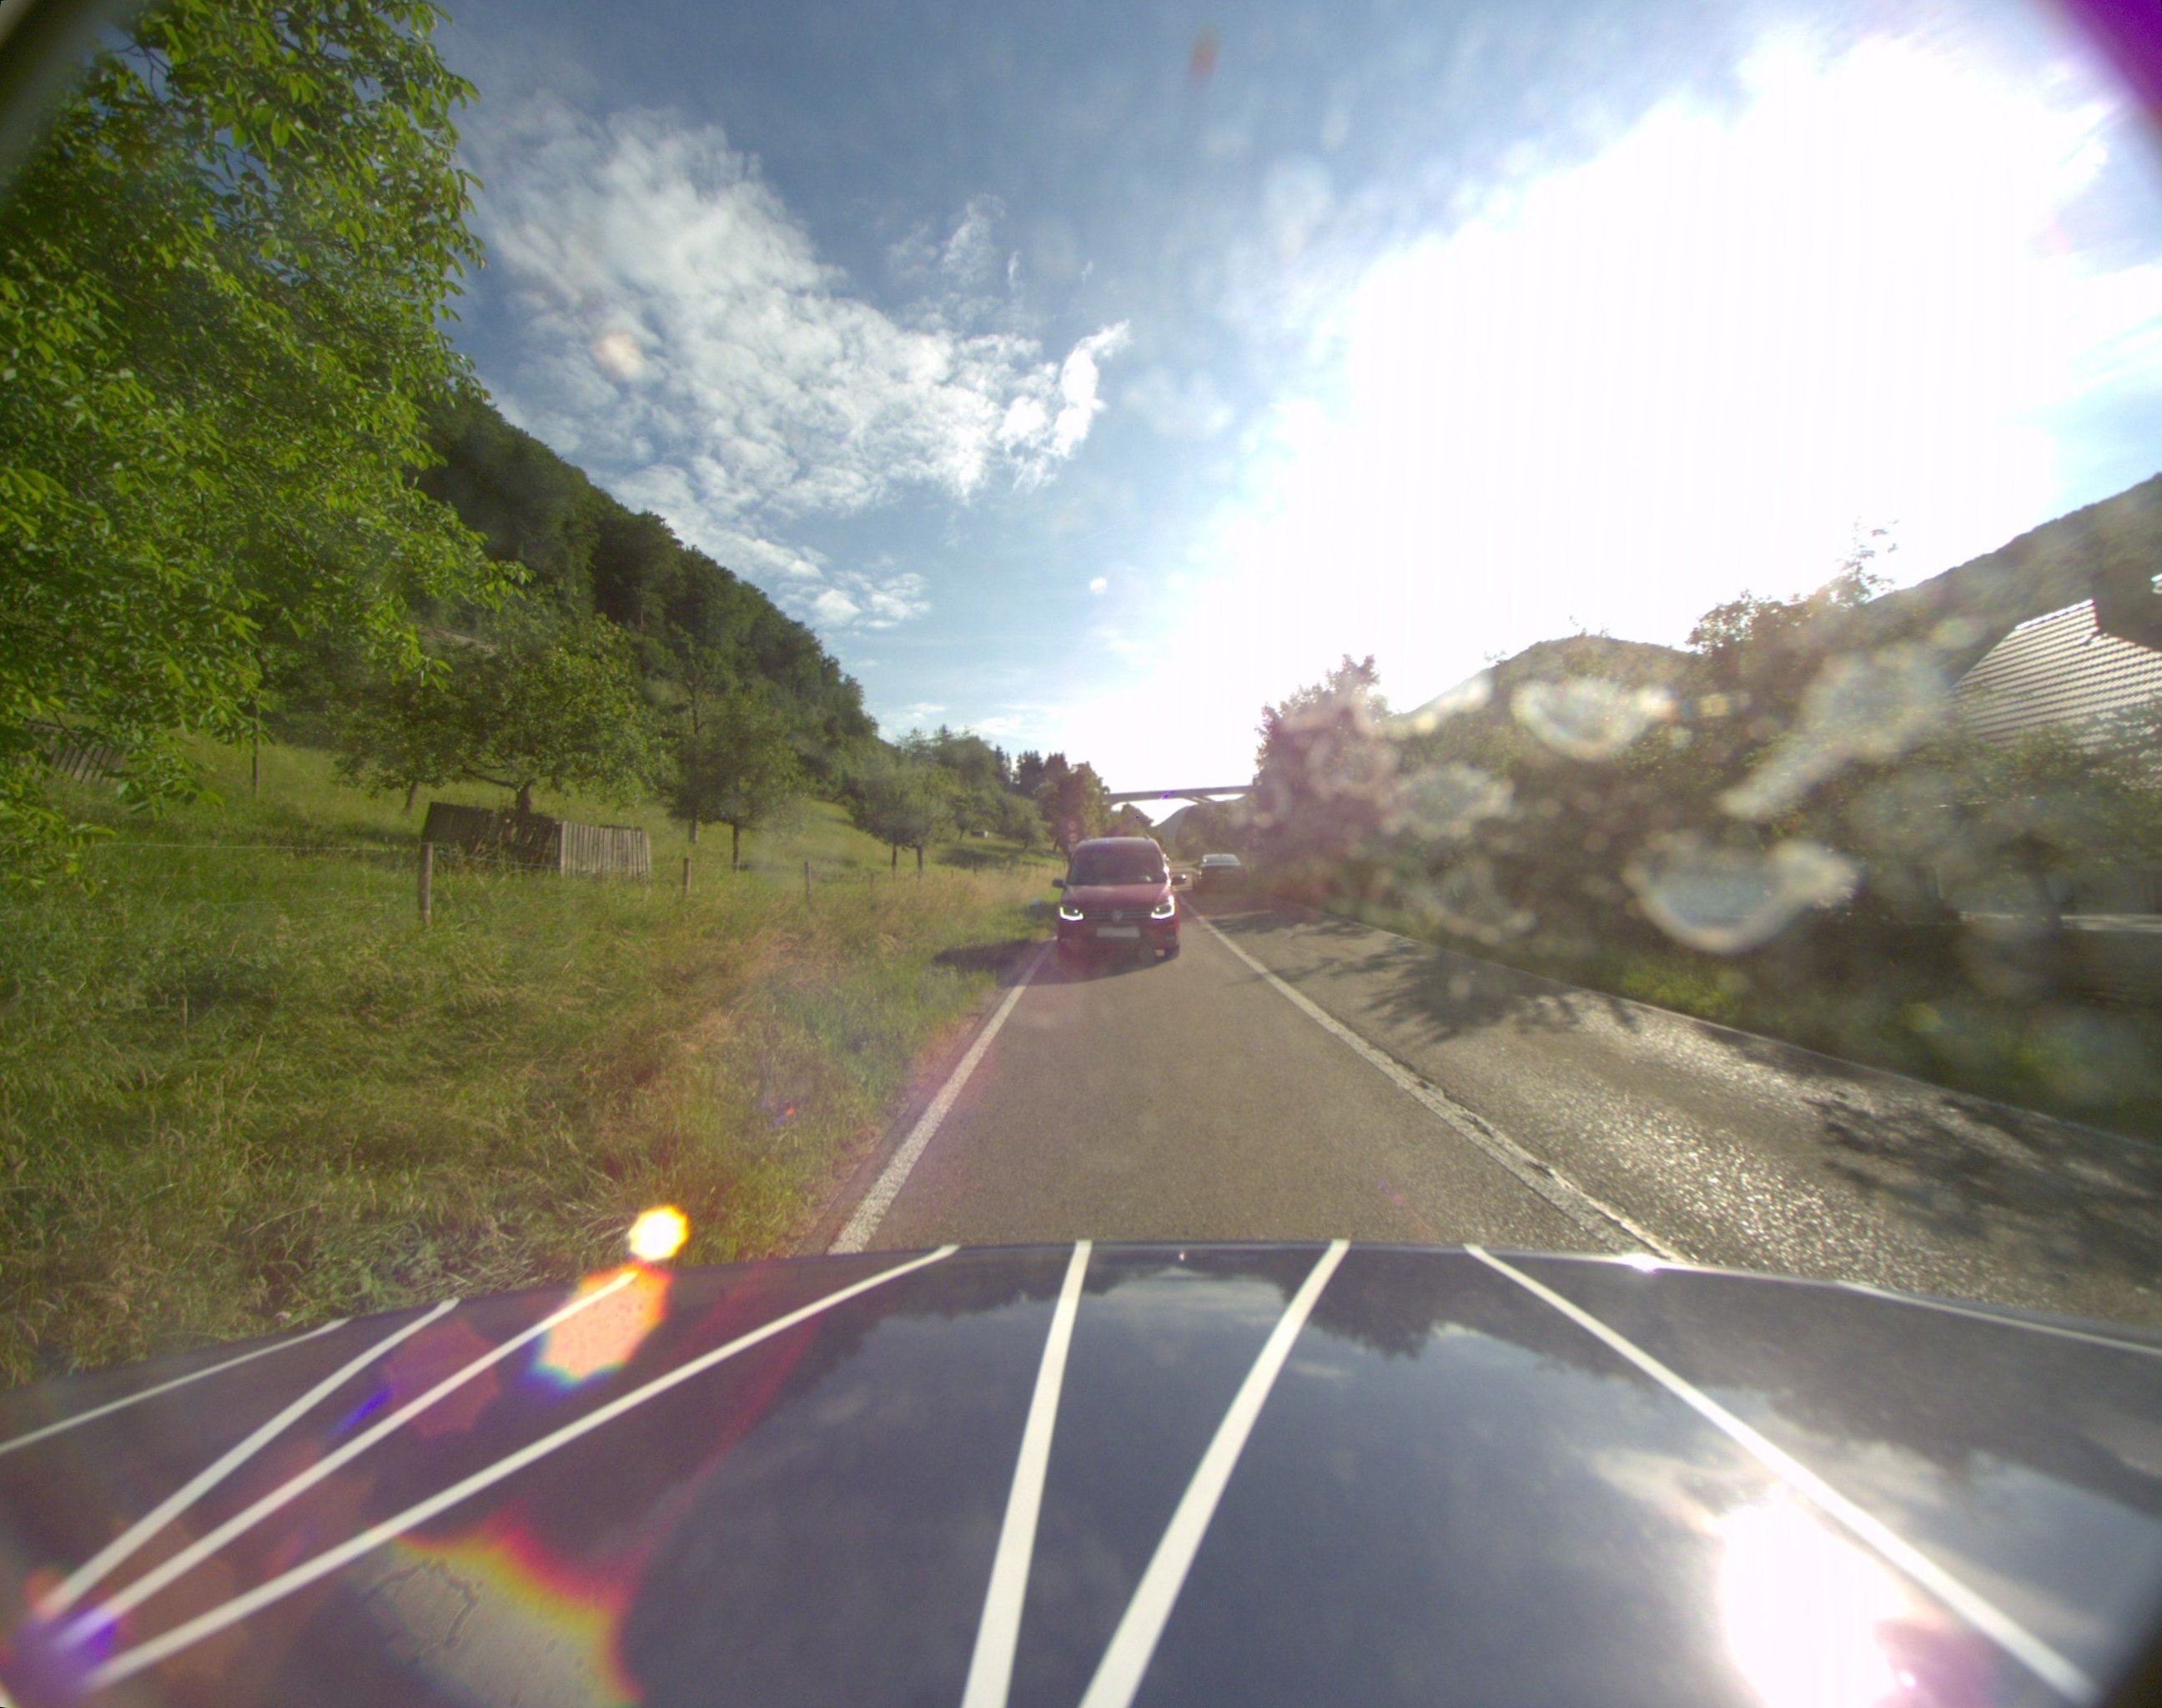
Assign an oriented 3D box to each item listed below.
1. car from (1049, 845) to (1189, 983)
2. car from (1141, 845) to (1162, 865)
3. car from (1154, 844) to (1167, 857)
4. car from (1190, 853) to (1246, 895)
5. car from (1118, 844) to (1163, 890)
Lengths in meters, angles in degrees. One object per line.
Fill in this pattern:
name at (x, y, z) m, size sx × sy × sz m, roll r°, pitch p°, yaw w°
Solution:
car at (0.617, 0.758, 12.087) m, size 1.759 × 1.745 × 4.430 m, roll -2°, pitch 1°, yaw 3°
car at (7.416, 0.097, 80.338) m, size 1.998 × 2.002 × 4.000 m, roll -2°, pitch 1°, yaw 3°
car at (13.119, -0.535, 125.716) m, size 1.998 × 2.002 × 4.001 m, roll -2°, pitch 1°, yaw 5°
car at (4.966, 0.679, 27.984) m, size 1.597 × 1.346 × 4.204 m, roll -2°, pitch 1°, yaw 4°
car at (2.499, 0.504, 32.335) m, size 1.759 × 1.745 × 4.000 m, roll -2°, pitch 1°, yaw 4°
